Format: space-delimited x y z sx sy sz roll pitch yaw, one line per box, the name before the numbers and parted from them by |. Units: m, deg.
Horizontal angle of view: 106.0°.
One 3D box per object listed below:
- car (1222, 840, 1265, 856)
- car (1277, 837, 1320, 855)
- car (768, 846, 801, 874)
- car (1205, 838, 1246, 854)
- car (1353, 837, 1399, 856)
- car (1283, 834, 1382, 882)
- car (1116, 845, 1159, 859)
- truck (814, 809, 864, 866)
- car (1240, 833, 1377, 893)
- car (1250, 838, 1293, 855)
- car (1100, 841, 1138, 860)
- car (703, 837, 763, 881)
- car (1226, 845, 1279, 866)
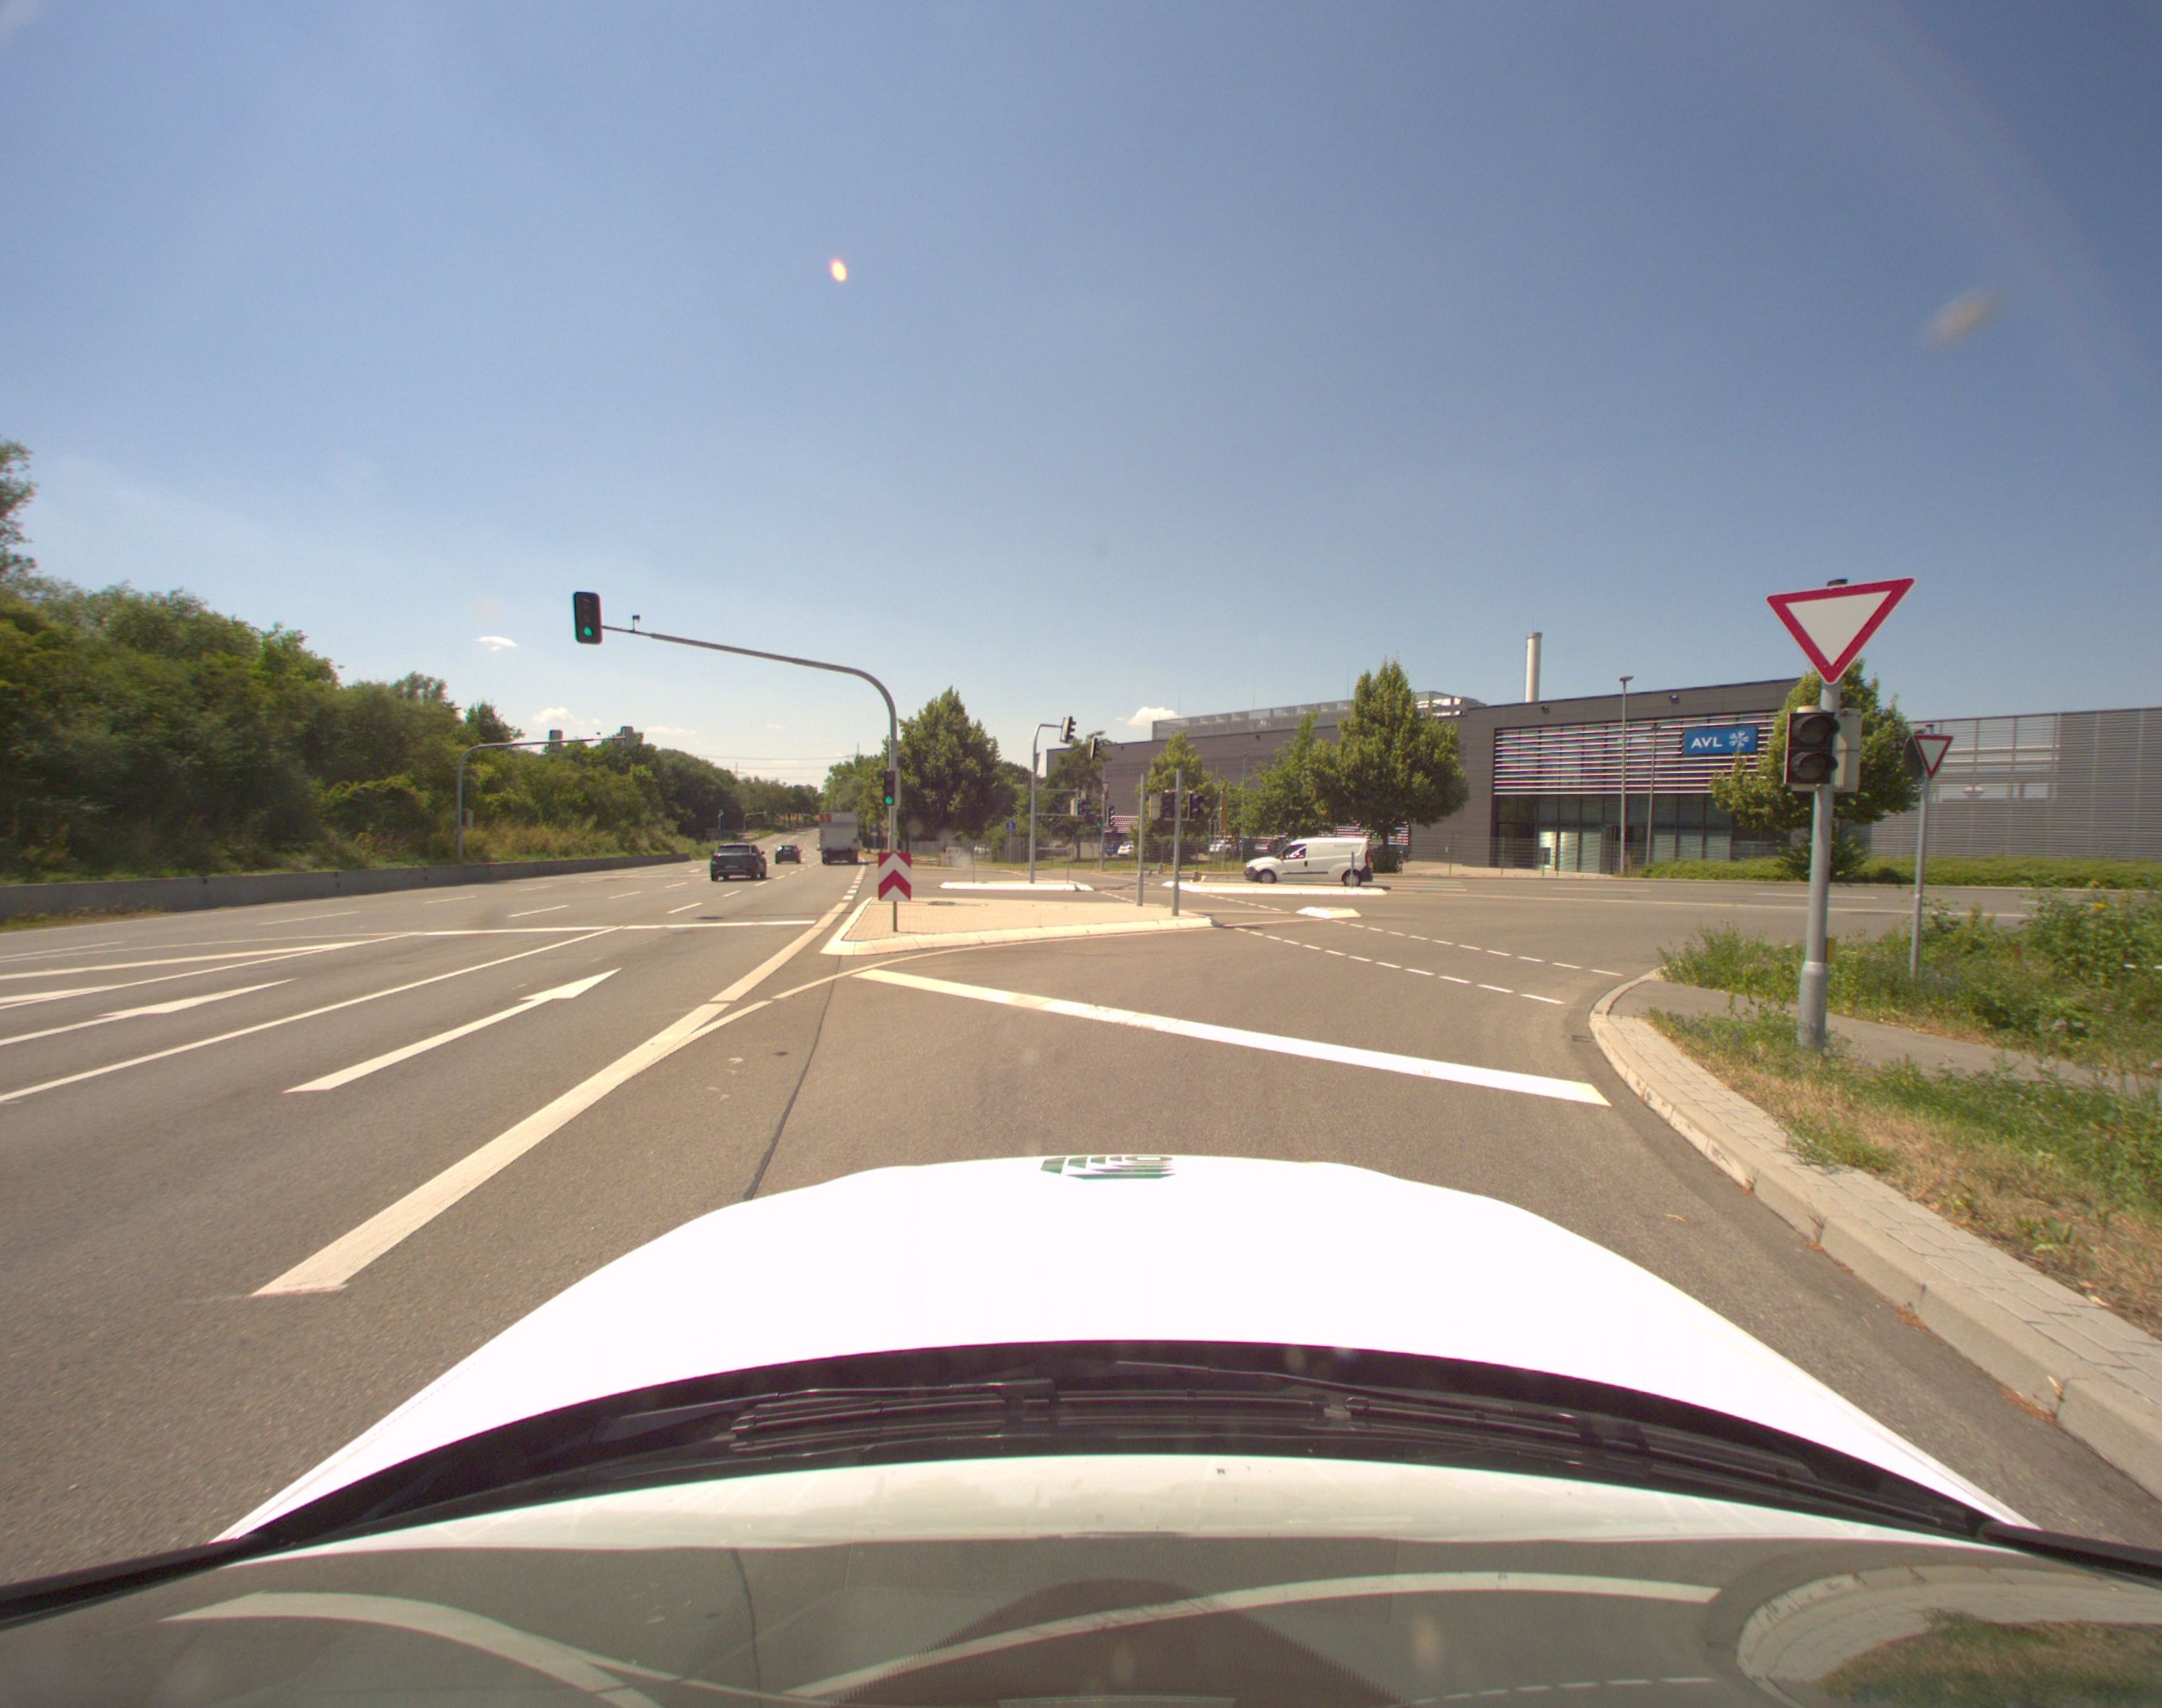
car | 15.252 -0.553 76.240 4.022 1.486 1.976 0 -1 -43
car | 19.225 -0.679 71.981 4.022 1.528 1.798 0 -1 -43
car | -22.235 0.431 61.041 2.003 2.014 3.967 0 -1 -25
car | 13.916 -0.780 78.303 4.022 1.460 1.750 0 -1 -43
car | 24.073 -0.561 66.437 4.022 1.486 1.976 0 -1 -43
car | 10.562 0.141 34.243 3.822 1.706 2.010 2 5 17
car | 4.864 -0.167 69.785 3.655 1.165 1.596 0 -1 -43
truck | -17.187 -1.063 58.077 3.273 3.840 6.169 0 -1 -16
car | 8.609 0.286 30.927 4.817 1.941 2.010 2 5 17
car | 17.421 -0.646 74.344 4.022 1.517 1.896 0 -1 -43
car | 4.268 -0.367 90.130 4.022 2.014 1.975 0 -1 -43
car | -14.594 0.225 34.336 1.999 1.750 3.975 0 -1 -18
car | 12.960 0.131 61.470 4.022 1.486 1.976 0 -1 -43
